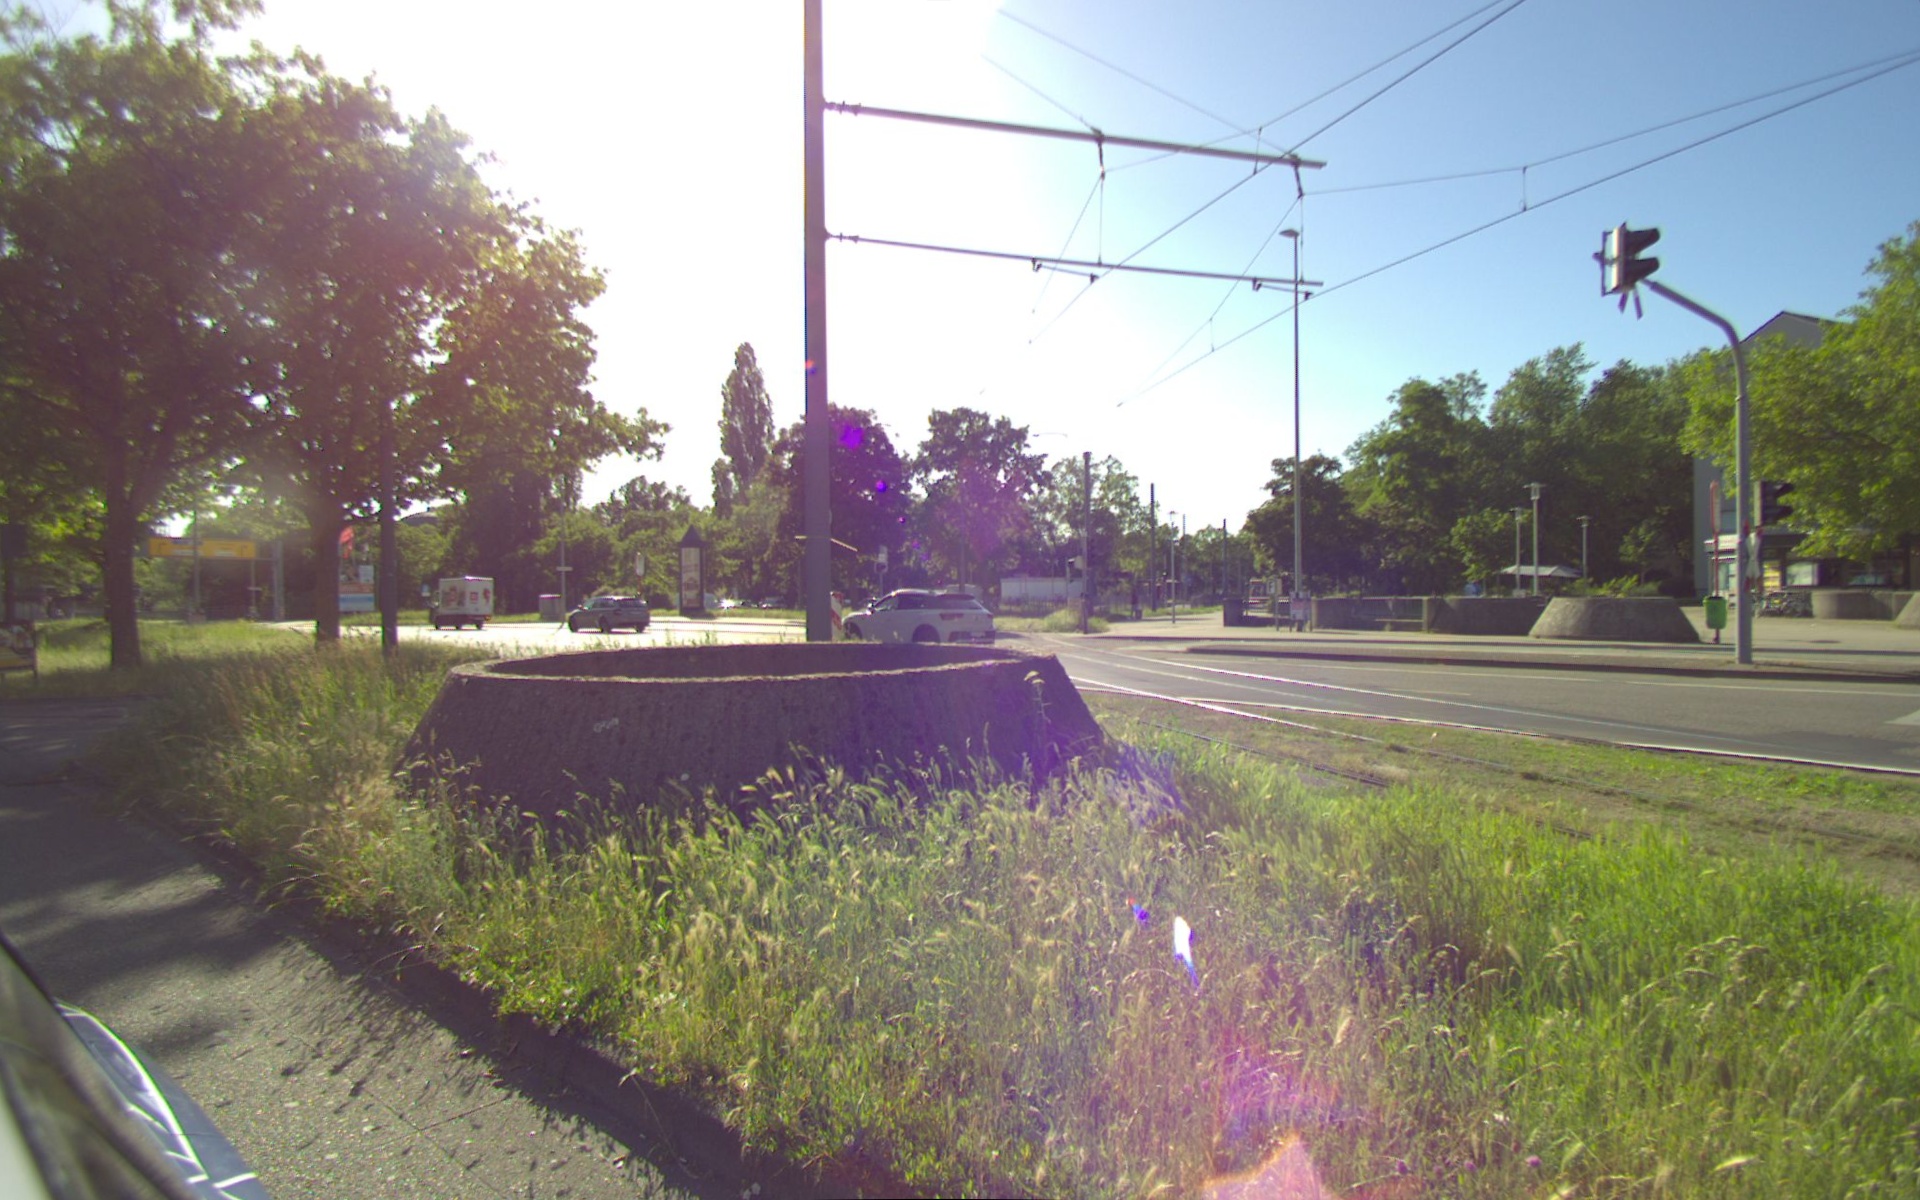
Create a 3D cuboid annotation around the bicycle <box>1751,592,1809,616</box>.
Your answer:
[{"bbox_3d":[29.622,0.150,36.601,0.539,0.845,1.689,-1,0,-9],"label":"bicycle"}]

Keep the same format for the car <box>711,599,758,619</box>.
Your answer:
[{"bbox_3d":[-15.857,0.624,71.442,1.977,1.292,3.991,-1,0,8],"label":"car"}]

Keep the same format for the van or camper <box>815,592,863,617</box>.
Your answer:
[{"bbox_3d":[-10.379,0.379,86.791,1.968,2.112,4.409,-1,0,-40],"label":"van or camper"}]

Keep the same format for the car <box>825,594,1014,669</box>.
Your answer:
[{"bbox_3d":[-1.025,0.692,23.797,4.388,1.574,1.971,-1,1,44],"label":"car"}]

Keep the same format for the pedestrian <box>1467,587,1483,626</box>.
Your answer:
[{"bbox_3d":[24.793,0.306,48.729,0.555,1.843,0.723,-1,0,20],"label":"pedestrian"}]

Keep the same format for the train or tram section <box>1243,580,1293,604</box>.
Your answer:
[{"bbox_3d":[42.226,-1.166,138.065,2.459,2.962,19.650,-1,1,29],"label":"train or tram section"}]

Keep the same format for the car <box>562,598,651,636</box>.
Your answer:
[{"bbox_3d":[-14.533,0.692,41.482,4.404,1.459,1.644,-1,1,44],"label":"car"}]

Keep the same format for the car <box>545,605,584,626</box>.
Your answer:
[{"bbox_3d":[-30.084,1.161,76.926,1.792,1.459,4.009,-1,0,-37],"label":"car"}]

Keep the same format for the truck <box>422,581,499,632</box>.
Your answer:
[{"bbox_3d":[-24.845,0.312,50.330,4.103,2.445,1.772,-1,0,37],"label":"truck"}]

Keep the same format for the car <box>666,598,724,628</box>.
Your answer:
[{"bbox_3d":[-18.907,0.889,72.451,2.213,2.029,4.987,-1,0,8],"label":"car"}]
